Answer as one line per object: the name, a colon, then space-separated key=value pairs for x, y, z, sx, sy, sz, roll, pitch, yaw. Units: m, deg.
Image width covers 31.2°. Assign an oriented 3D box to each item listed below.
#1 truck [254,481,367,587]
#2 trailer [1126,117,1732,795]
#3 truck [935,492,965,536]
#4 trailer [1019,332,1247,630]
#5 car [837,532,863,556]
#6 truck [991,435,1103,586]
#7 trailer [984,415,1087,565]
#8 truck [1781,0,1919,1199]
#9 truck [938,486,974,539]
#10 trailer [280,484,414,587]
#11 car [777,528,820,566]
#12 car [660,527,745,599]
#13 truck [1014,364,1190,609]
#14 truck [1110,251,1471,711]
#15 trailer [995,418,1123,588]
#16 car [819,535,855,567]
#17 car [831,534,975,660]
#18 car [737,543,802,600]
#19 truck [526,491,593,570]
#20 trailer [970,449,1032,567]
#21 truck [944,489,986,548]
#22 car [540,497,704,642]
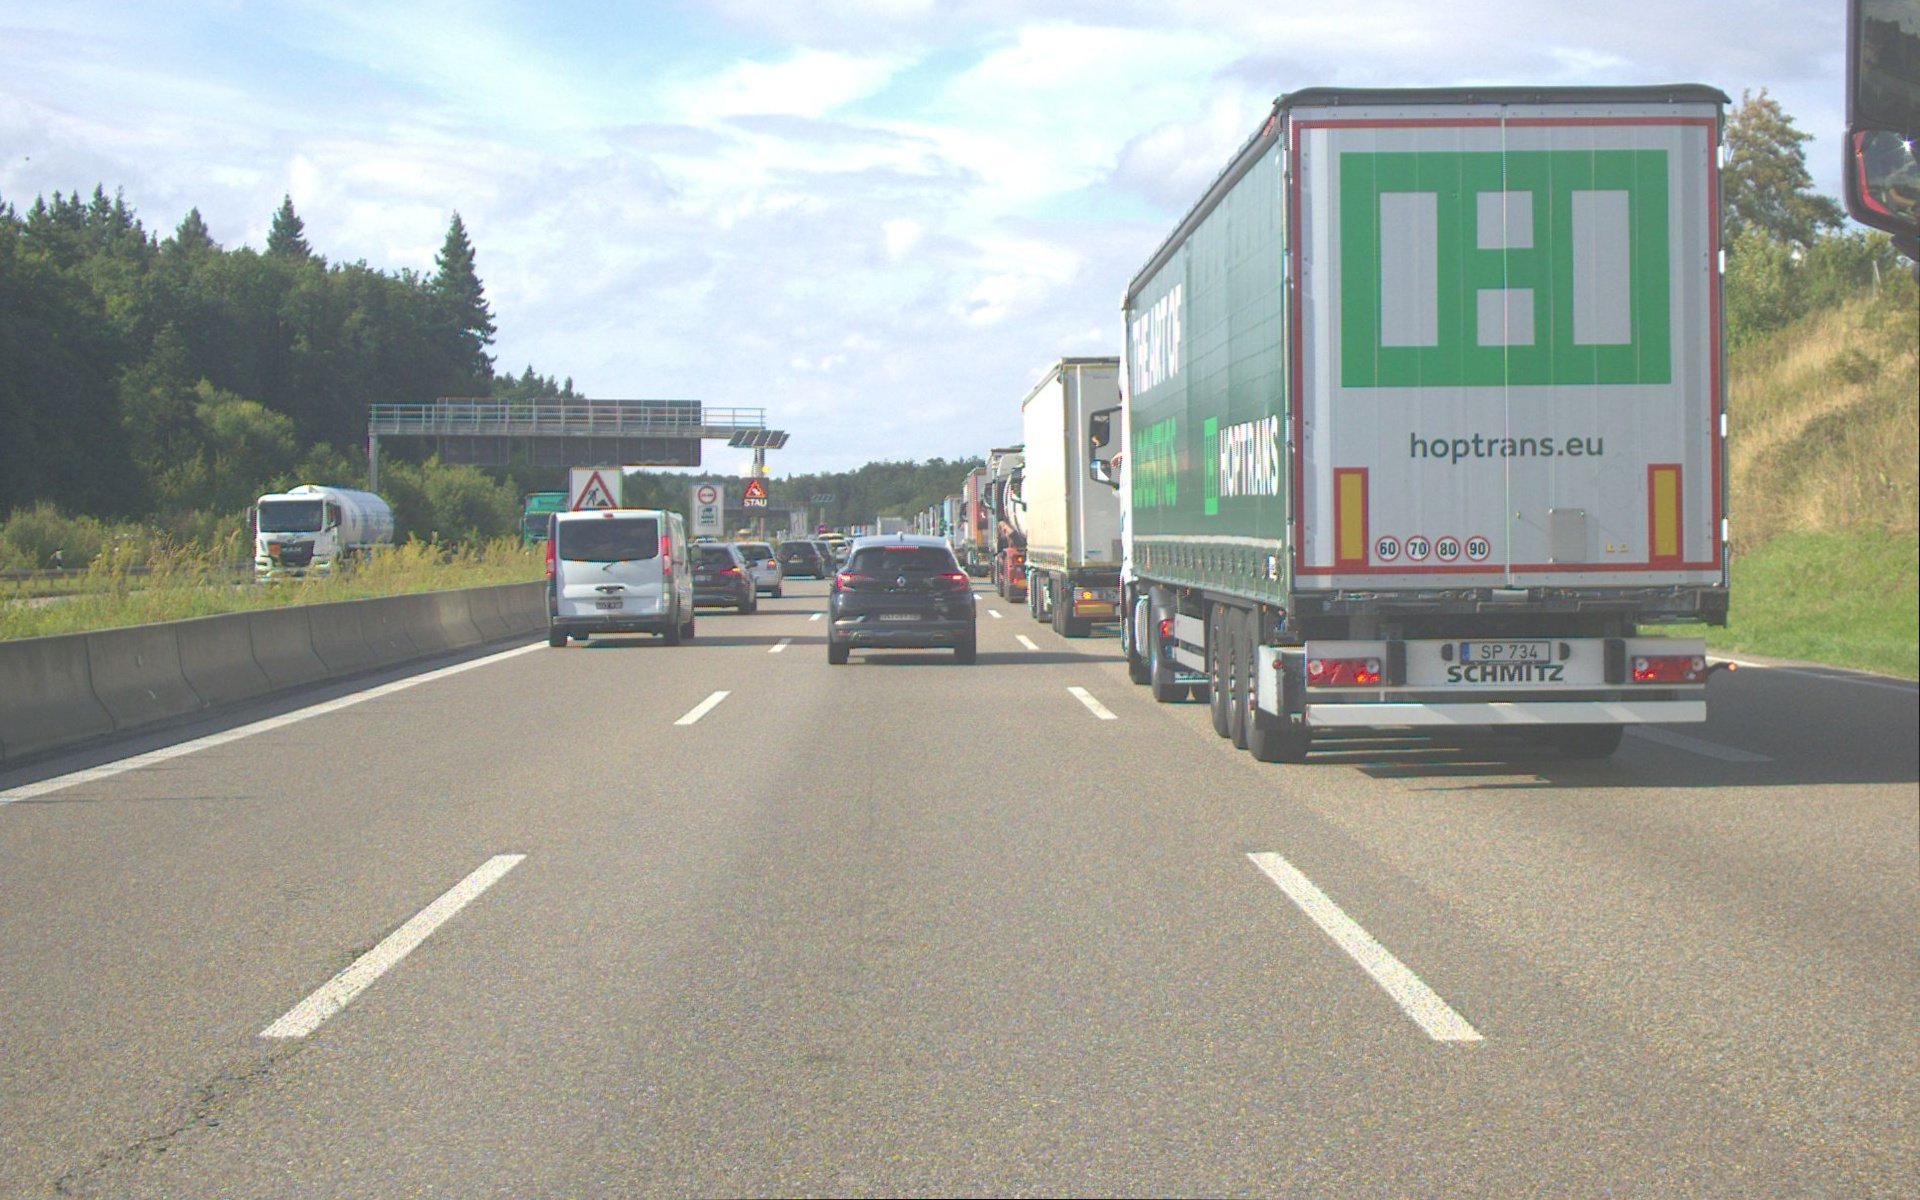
truck: x=-20.651 y=-2.102 z=109.574 sx=2.317 sy=3.262 sz=6.105 roll=0 pitch=1 yaw=1
trailer: x=3.012 y=-0.924 z=26.366 sx=2.661 sy=3.855 sz=13.395 roll=0 pitch=1 yaw=-1
truck: x=-0.712 y=-6.188 z=249.066 sx=1.993 sy=3.042 sz=4.982 roll=2 pitch=1 yaw=0
trailer: x=2.507 y=-1.781 z=54.058 sx=2.703 sy=4.068 sz=12.945 roll=-1 pitch=1 yaw=-1
car: x=-6.163 y=-3.133 z=192.142 sx=1.361 sy=1.296 sz=3.085 roll=2 pitch=1 yaw=-1
truck: x=2.119 y=-2.202 z=85.888 sx=2.533 sy=3.571 sz=6.730 roll=-1 pitch=1 yaw=-1
trailer: x=2.199 y=-3.239 z=104.197 sx=2.802 sy=4.229 sz=11.057 roll=-1 pitch=1 yaw=0
truck: x=3.598 y=-0.546 z=5.988 sx=2.802 sy=3.925 sz=5.826 roll=1 pitch=1 yaw=-1
truck: x=-0.247 y=-5.180 z=204.971 sx=1.993 sy=3.042 sz=4.982 roll=2 pitch=1 yaw=0
trailer: x=-20.425 y=-2.166 z=115.145 sx=2.321 sy=3.273 sz=10.876 roll=0 pitch=1 yaw=1
car: x=-5.965 y=-1.961 z=127.192 sx=1.434 sy=1.305 sz=3.534 roll=2 pitch=1 yaw=-1
car: x=-5.214 y=-0.762 z=69.997 sx=1.500 sy=1.391 sz=3.476 roll=-1 pitch=1 yaw=-1
truck: x=2.432 y=-1.941 z=60.671 sx=2.708 sy=4.046 sz=6.362 roll=-1 pitch=1 yaw=-1
truck: x=2.945 y=-1.055 z=32.510 sx=2.647 sy=3.855 sz=6.997 roll=0 pitch=1 yaw=-1
trailer: x=2.185 y=-2.173 z=79.614 sx=2.541 sy=3.641 sz=10.627 roll=-1 pitch=1 yaw=0
car: x=-5.222 y=-2.080 z=146.057 sx=1.434 sy=1.305 sz=3.534 roll=2 pitch=1 yaw=-1
car: x=-0.698 y=-0.061 z=42.572 sx=1.696 sy=1.478 sz=4.160 roll=0 pitch=1 yaw=-1
car: x=-4.913 y=-0.741 z=88.927 sx=1.500 sy=1.391 sz=3.476 roll=2 pitch=1 yaw=-1
truck: x=-22.251 y=-3.859 z=191.528 sx=2.711 sy=4.229 sz=10.345 roll=-1 pitch=1 yaw=-1
trailer: x=1.495 y=-3.377 z=128.212 sx=2.150 sy=4.244 sz=8.440 roll=0 pitch=1 yaw=0
truck: x=0.240 y=-4.203 z=177.479 sx=1.993 sy=2.922 sz=4.982 roll=2 pitch=1 yaw=0
car: x=-4.972 y=-0.474 z=51.178 sx=1.933 sy=1.972 sz=5.099 roll=2 pitch=1 yaw=-1
